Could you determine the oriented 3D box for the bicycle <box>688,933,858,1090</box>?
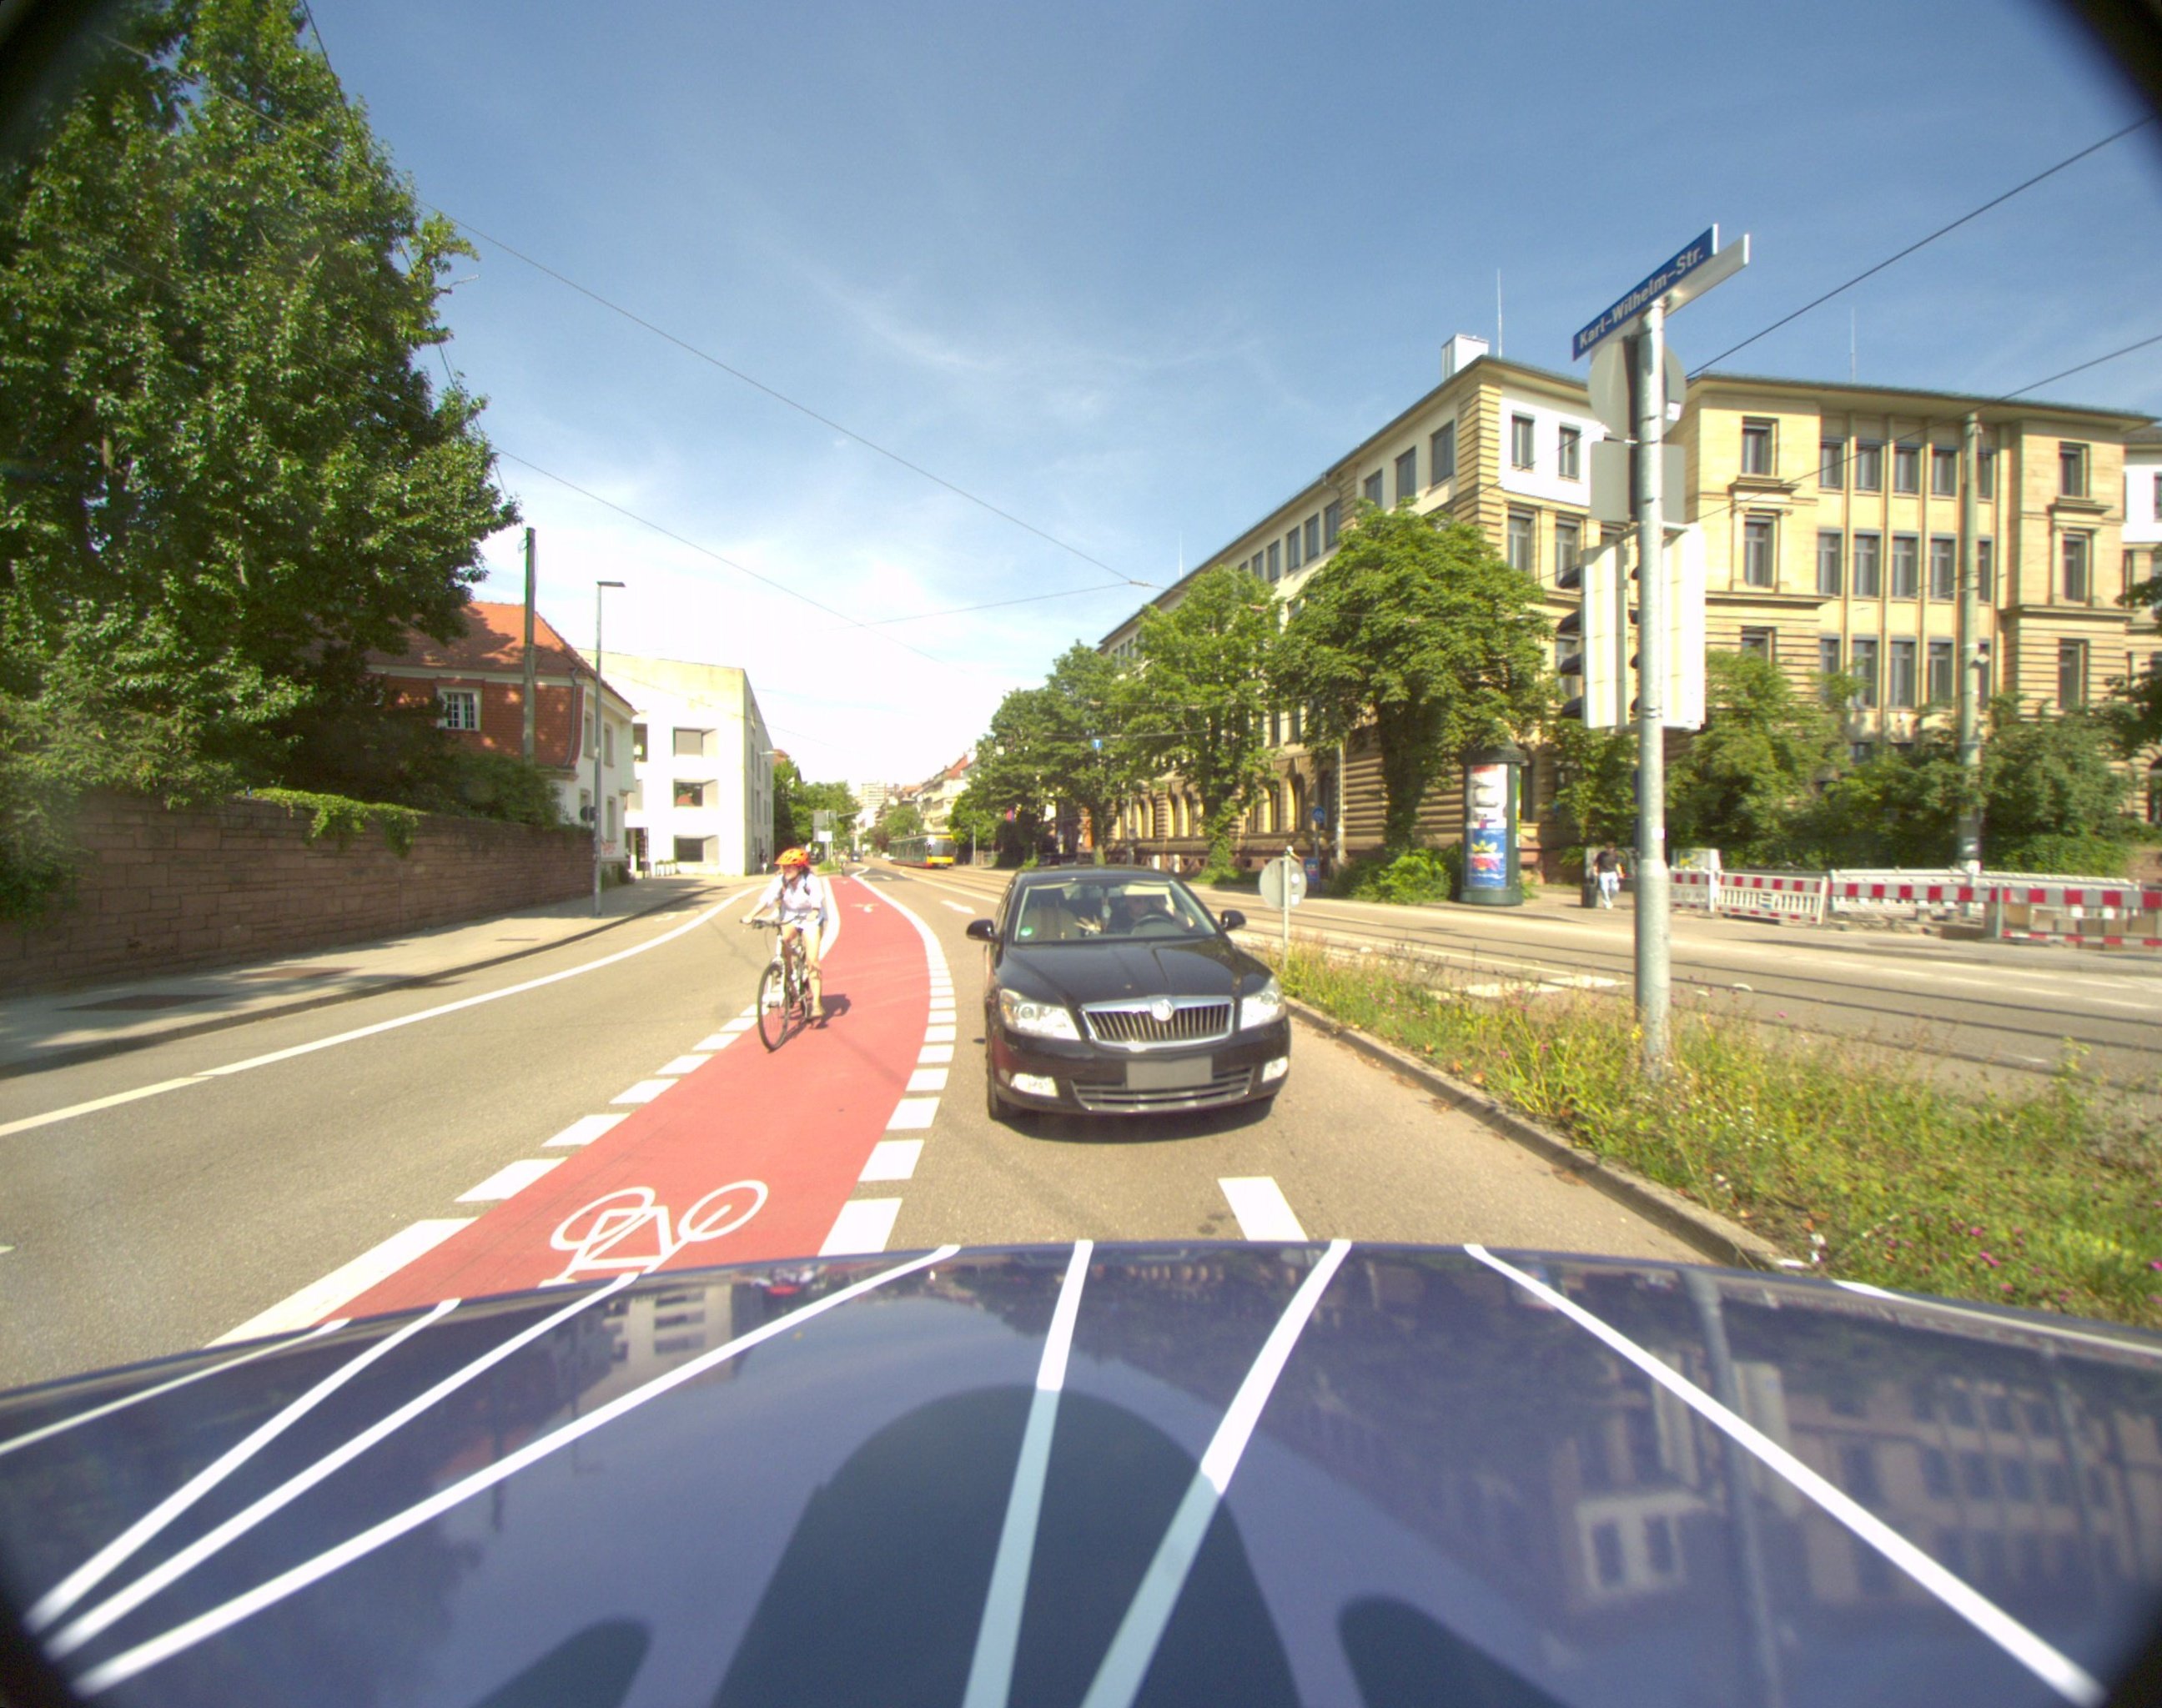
[{"bbox_3d":[-2.555,1.261,6.583,0.598,0.926,2.028,-1,0,1],"label":"bicycle"}]

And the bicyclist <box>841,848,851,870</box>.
[{"bbox_3d":[-16.704,0.360,53.979,0.588,1.539,0.930,-3,1,-16],"label":"bicyclist"}]

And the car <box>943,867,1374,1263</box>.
[{"bbox_3d":[0.104,0.920,5.649,1.865,1.510,4.824,0,1,-6],"label":"car"}]

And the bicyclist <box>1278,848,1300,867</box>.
[{"bbox_3d":[10.185,0.178,37.207,0.683,0.921,0.868,0,1,-23],"label":"bicyclist"}]

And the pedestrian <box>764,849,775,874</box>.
[{"bbox_3d":[-22.062,0.522,53.869,0.651,1.697,0.710,0,1,-19],"label":"pedestrian"}]

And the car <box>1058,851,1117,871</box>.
[{"bbox_3d":[0.515,0.550,57.323,4.004,1.455,1.996,0,0,-20],"label":"car"}]

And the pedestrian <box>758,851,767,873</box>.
[{"bbox_3d":[-22.498,0.542,53.697,0.550,1.559,0.930,0,1,-19],"label":"pedestrian"}]

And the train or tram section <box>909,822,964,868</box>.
[{"bbox_3d":[-13.865,-0.785,71.671,3.219,3.838,14.563,0,0,-19],"label":"train or tram section"}]

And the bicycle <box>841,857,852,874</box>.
[{"bbox_3d":[-16.619,0.801,53.819,0.686,1.215,2.183,0,0,-16],"label":"bicycle"}]

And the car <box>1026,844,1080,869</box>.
[{"bbox_3d":[-2.308,0.192,62.282,4.004,2.002,1.996,0,0,-20],"label":"car"}]

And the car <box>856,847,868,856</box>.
[{"bbox_3d":[-36.038,-0.383,124.936,1.804,1.368,4.271,0,0,-14],"label":"car"}]

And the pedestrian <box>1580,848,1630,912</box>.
[{"bbox_3d":[13.780,0.657,20.020,0.938,1.646,0.845,0,1,25],"label":"pedestrian"}]

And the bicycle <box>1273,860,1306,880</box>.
[{"bbox_3d":[10.197,0.770,37.191,0.702,0.941,1.662,0,1,-23],"label":"bicycle"}]

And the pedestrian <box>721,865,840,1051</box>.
[{"bbox_3d":[-2.570,0.845,6.607,0.584,1.458,1.013,-1,1,1],"label":"pedestrian"}]
